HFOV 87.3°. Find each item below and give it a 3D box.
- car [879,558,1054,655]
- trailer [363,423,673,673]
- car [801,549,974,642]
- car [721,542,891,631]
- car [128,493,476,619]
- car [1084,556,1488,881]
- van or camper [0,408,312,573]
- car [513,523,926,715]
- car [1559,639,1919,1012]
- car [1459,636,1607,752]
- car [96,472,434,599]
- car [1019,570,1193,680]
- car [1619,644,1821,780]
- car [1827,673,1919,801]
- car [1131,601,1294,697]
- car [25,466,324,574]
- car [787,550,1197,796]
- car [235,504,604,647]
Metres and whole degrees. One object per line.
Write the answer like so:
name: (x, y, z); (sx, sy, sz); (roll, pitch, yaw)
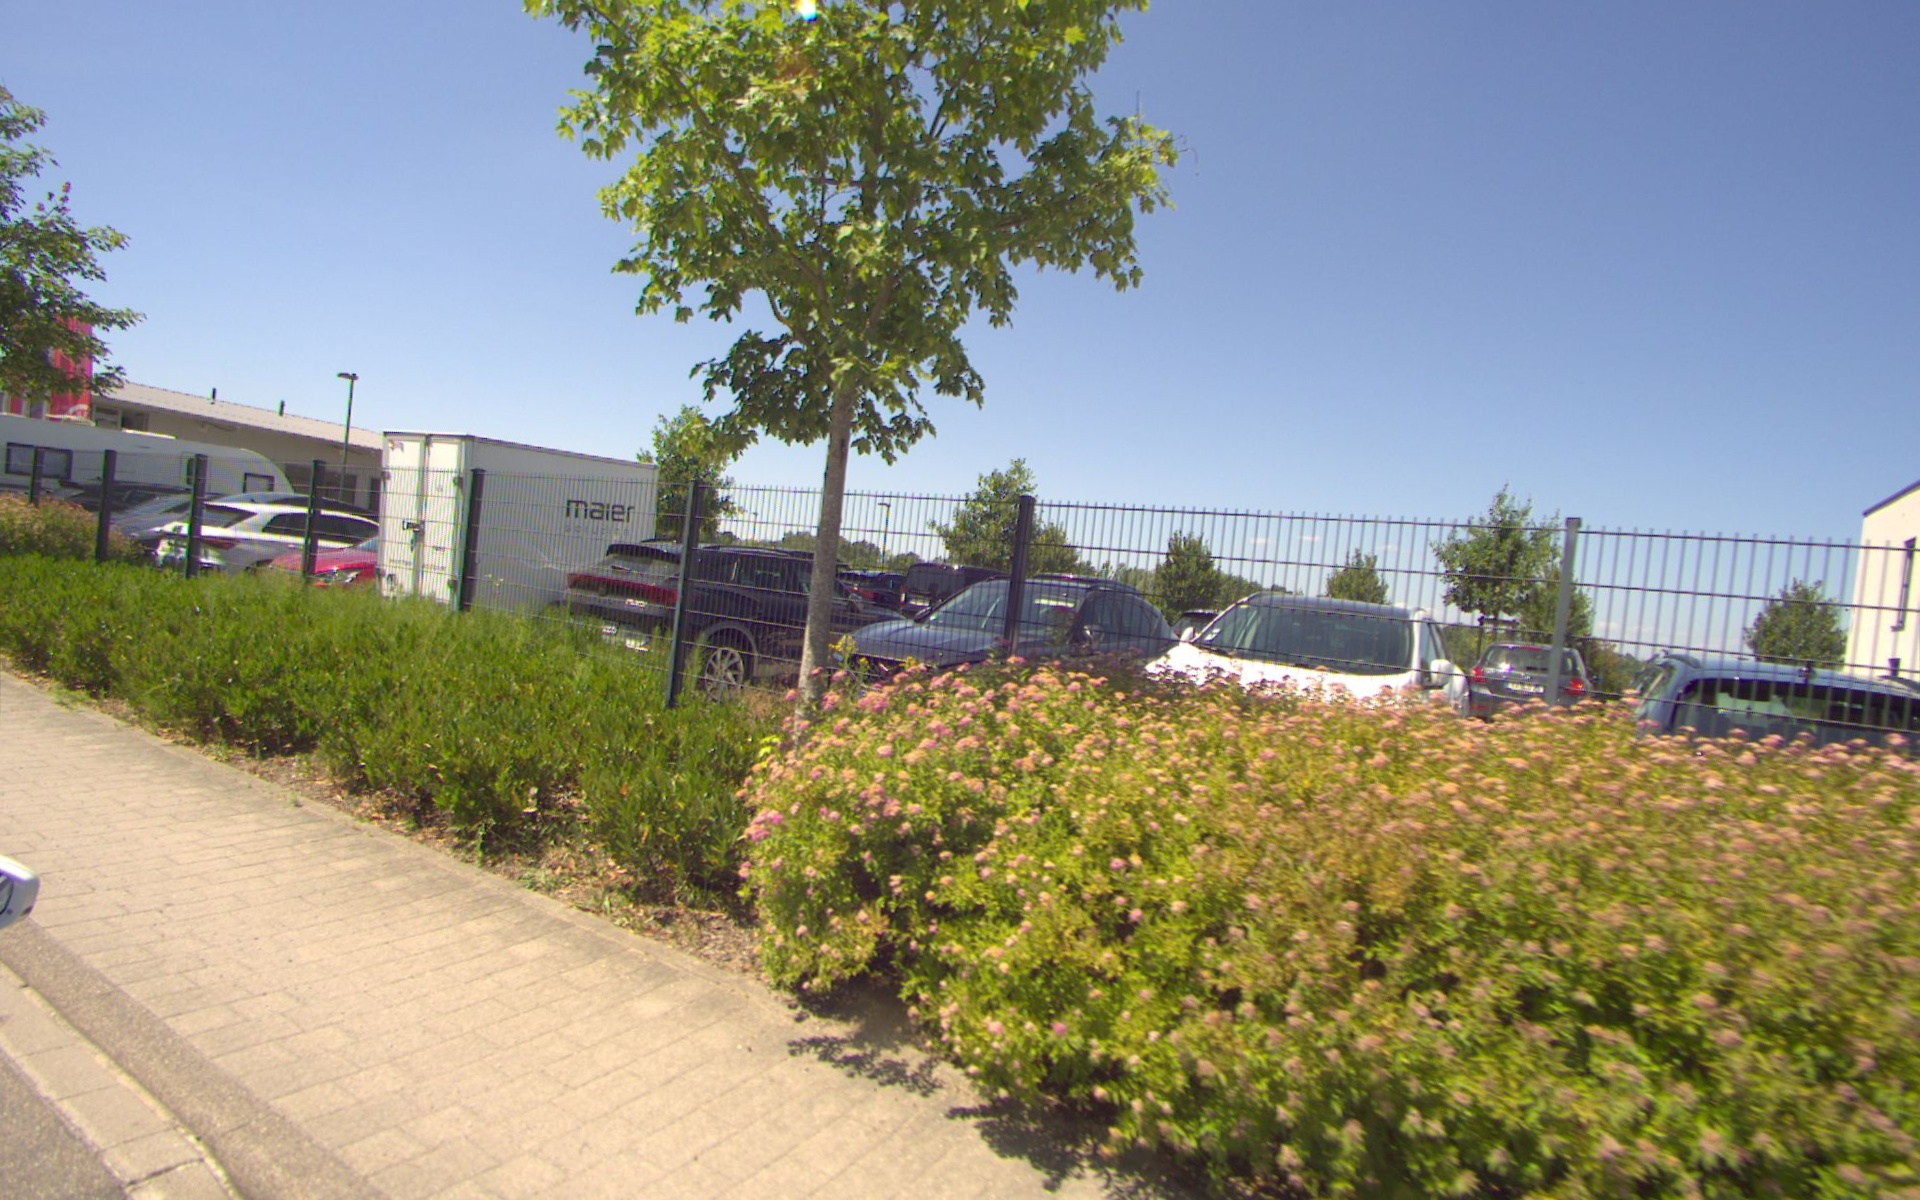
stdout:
car: (0.245, 0.202, 22.048); (1.886, 1.786, 4.044); (7, 1, 31)
trailer: (-4.909, -0.515, 11.474); (1.395, 2.435, 2.825); (7, 2, 28)
car: (-1.570, -0.040, 23.334); (1.886, 1.786, 4.044); (7, 1, 31)
car: (-3.719, -0.280, 24.938); (1.886, 1.830, 4.044); (7, 1, 31)
car: (-9.458, -0.563, 14.784); (1.775, 1.459, 3.843); (7, 2, 28)
car: (2.612, 0.692, 7.316); (1.792, 1.541, 3.990); (7, 1, 31)
van or camper: (-17.815, -2.238, 20.889); (2.592, 2.618, 6.763); (7, 1, 31)
car: (-2.319, 0.222, 10.732); (1.886, 1.523, 4.044); (7, 1, 31)
car: (4.669, 1.086, 6.107); (1.617, 1.440, 3.668); (7, 1, 31)
car: (9.430, 1.455, 16.525); (1.747, 1.467, 4.044); (7, 1, 31)
car: (-11.405, -0.986, 16.832); (1.778, 1.641, 4.254); (7, 2, 31)
car: (3.032, 0.520, 20.169); (1.886, 1.823, 4.044); (7, 1, 31)
car: (11.393, 1.581, 15.383); (1.886, 1.572, 4.044); (7, 1, 31)
car: (13.509, 1.902, 13.896); (1.739, 1.522, 3.873); (7, 1, 34)
car: (4.771, 0.896, 18.618); (1.695, 1.406, 4.044); (7, 1, 31)
car: (-14.973, -1.475, 19.413); (1.778, 1.557, 4.139); (7, 2, 31)
car: (0.540, 0.555, 8.823); (1.714, 1.510, 4.044); (7, 1, 31)
car: (-6.975, -0.237, 13.387); (1.776, 1.494, 3.893); (7, 1, 31)
